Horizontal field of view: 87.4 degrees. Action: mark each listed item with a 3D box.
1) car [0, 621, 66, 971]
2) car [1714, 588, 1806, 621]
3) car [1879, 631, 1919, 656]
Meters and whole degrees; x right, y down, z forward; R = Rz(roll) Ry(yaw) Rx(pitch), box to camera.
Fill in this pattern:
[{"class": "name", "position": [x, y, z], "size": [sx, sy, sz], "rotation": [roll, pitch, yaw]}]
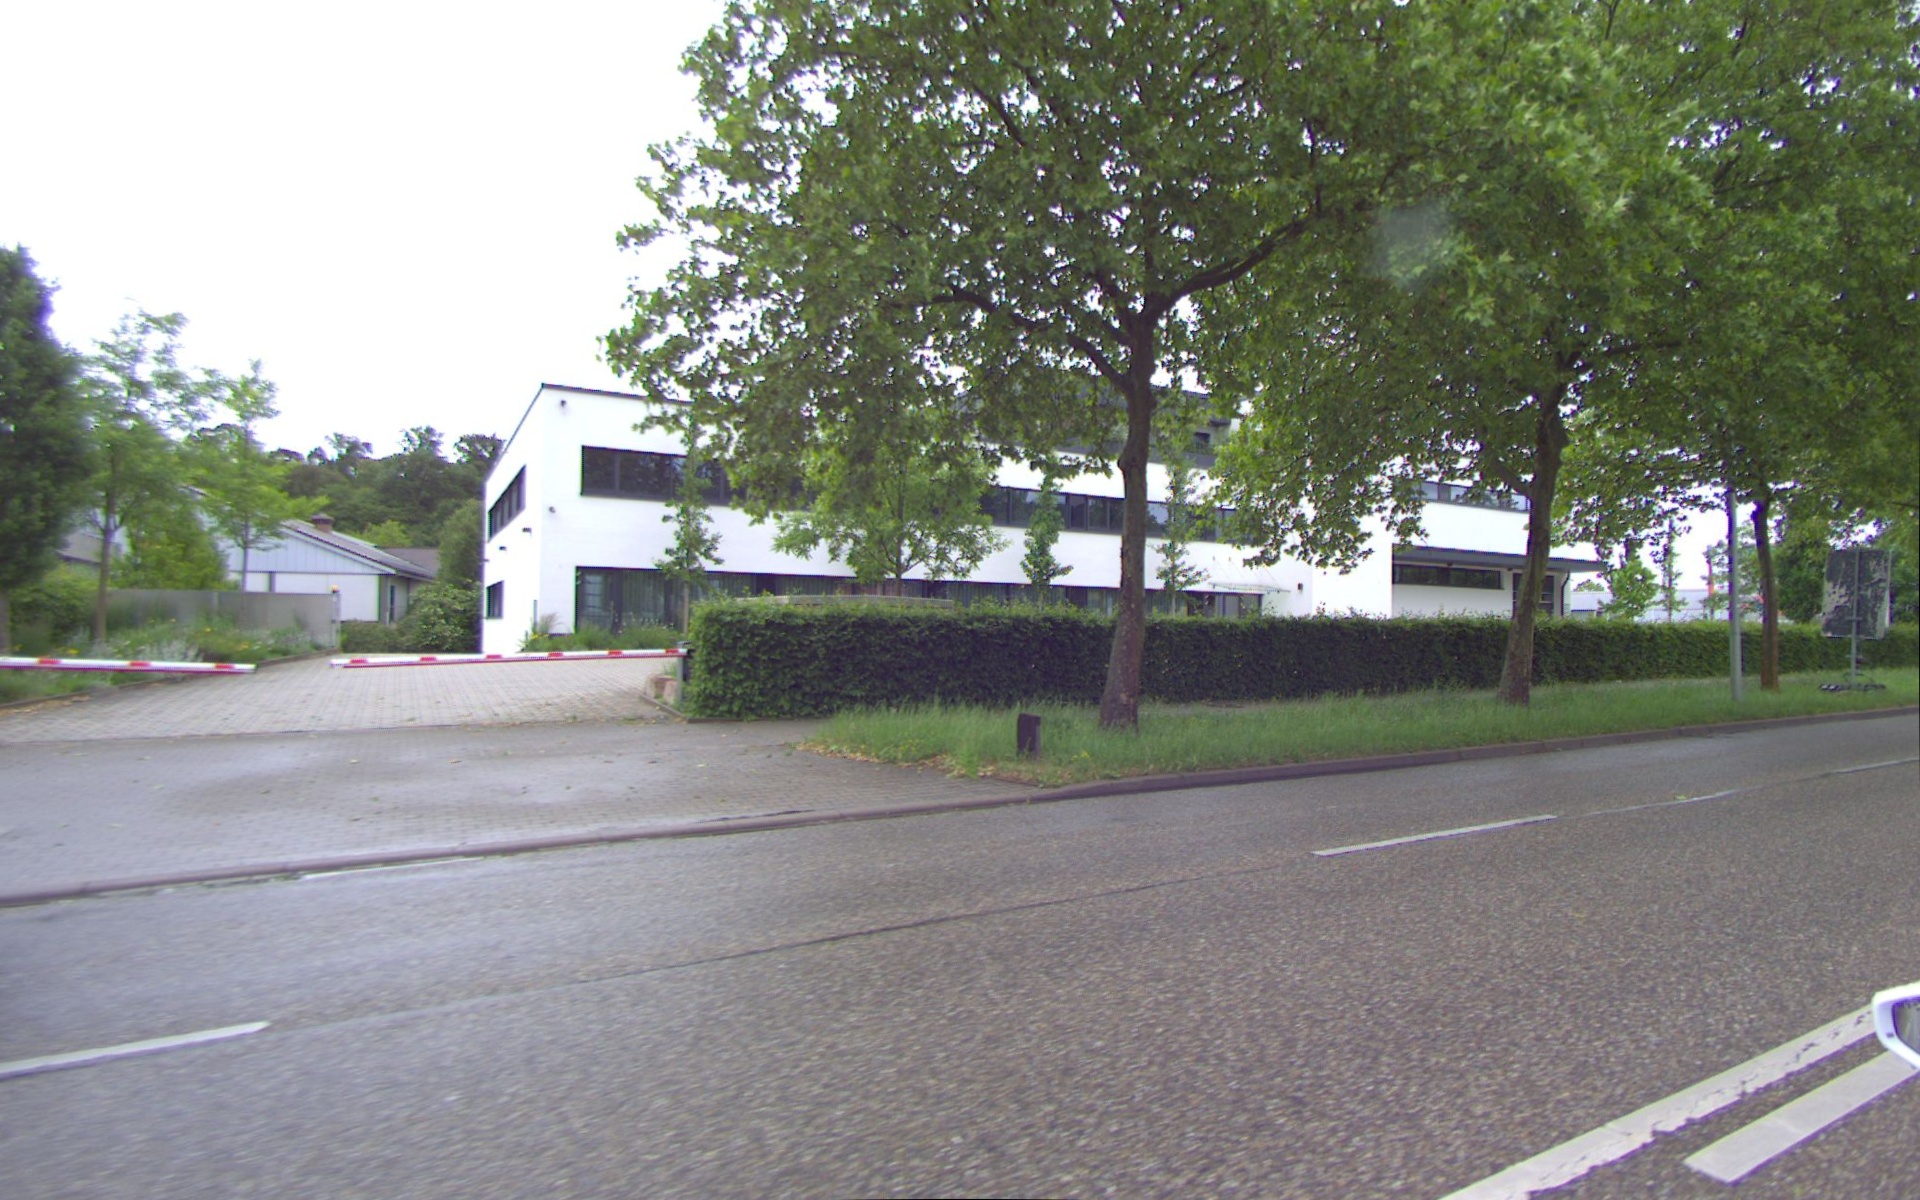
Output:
[{"class": "car", "position": [-5.972, 0.820, 3.492], "size": [3.955, 1.553, 1.733], "rotation": [2, -4, -32]}, {"class": "car", "position": [48.907, 0.330, 61.495], "size": [1.939, 1.914, 3.970], "rotation": [1, -2, -29]}, {"class": "car", "position": [71.137, 3.233, 74.598], "size": [1.861, 1.790, 3.965], "rotation": [1, -2, -32]}]
